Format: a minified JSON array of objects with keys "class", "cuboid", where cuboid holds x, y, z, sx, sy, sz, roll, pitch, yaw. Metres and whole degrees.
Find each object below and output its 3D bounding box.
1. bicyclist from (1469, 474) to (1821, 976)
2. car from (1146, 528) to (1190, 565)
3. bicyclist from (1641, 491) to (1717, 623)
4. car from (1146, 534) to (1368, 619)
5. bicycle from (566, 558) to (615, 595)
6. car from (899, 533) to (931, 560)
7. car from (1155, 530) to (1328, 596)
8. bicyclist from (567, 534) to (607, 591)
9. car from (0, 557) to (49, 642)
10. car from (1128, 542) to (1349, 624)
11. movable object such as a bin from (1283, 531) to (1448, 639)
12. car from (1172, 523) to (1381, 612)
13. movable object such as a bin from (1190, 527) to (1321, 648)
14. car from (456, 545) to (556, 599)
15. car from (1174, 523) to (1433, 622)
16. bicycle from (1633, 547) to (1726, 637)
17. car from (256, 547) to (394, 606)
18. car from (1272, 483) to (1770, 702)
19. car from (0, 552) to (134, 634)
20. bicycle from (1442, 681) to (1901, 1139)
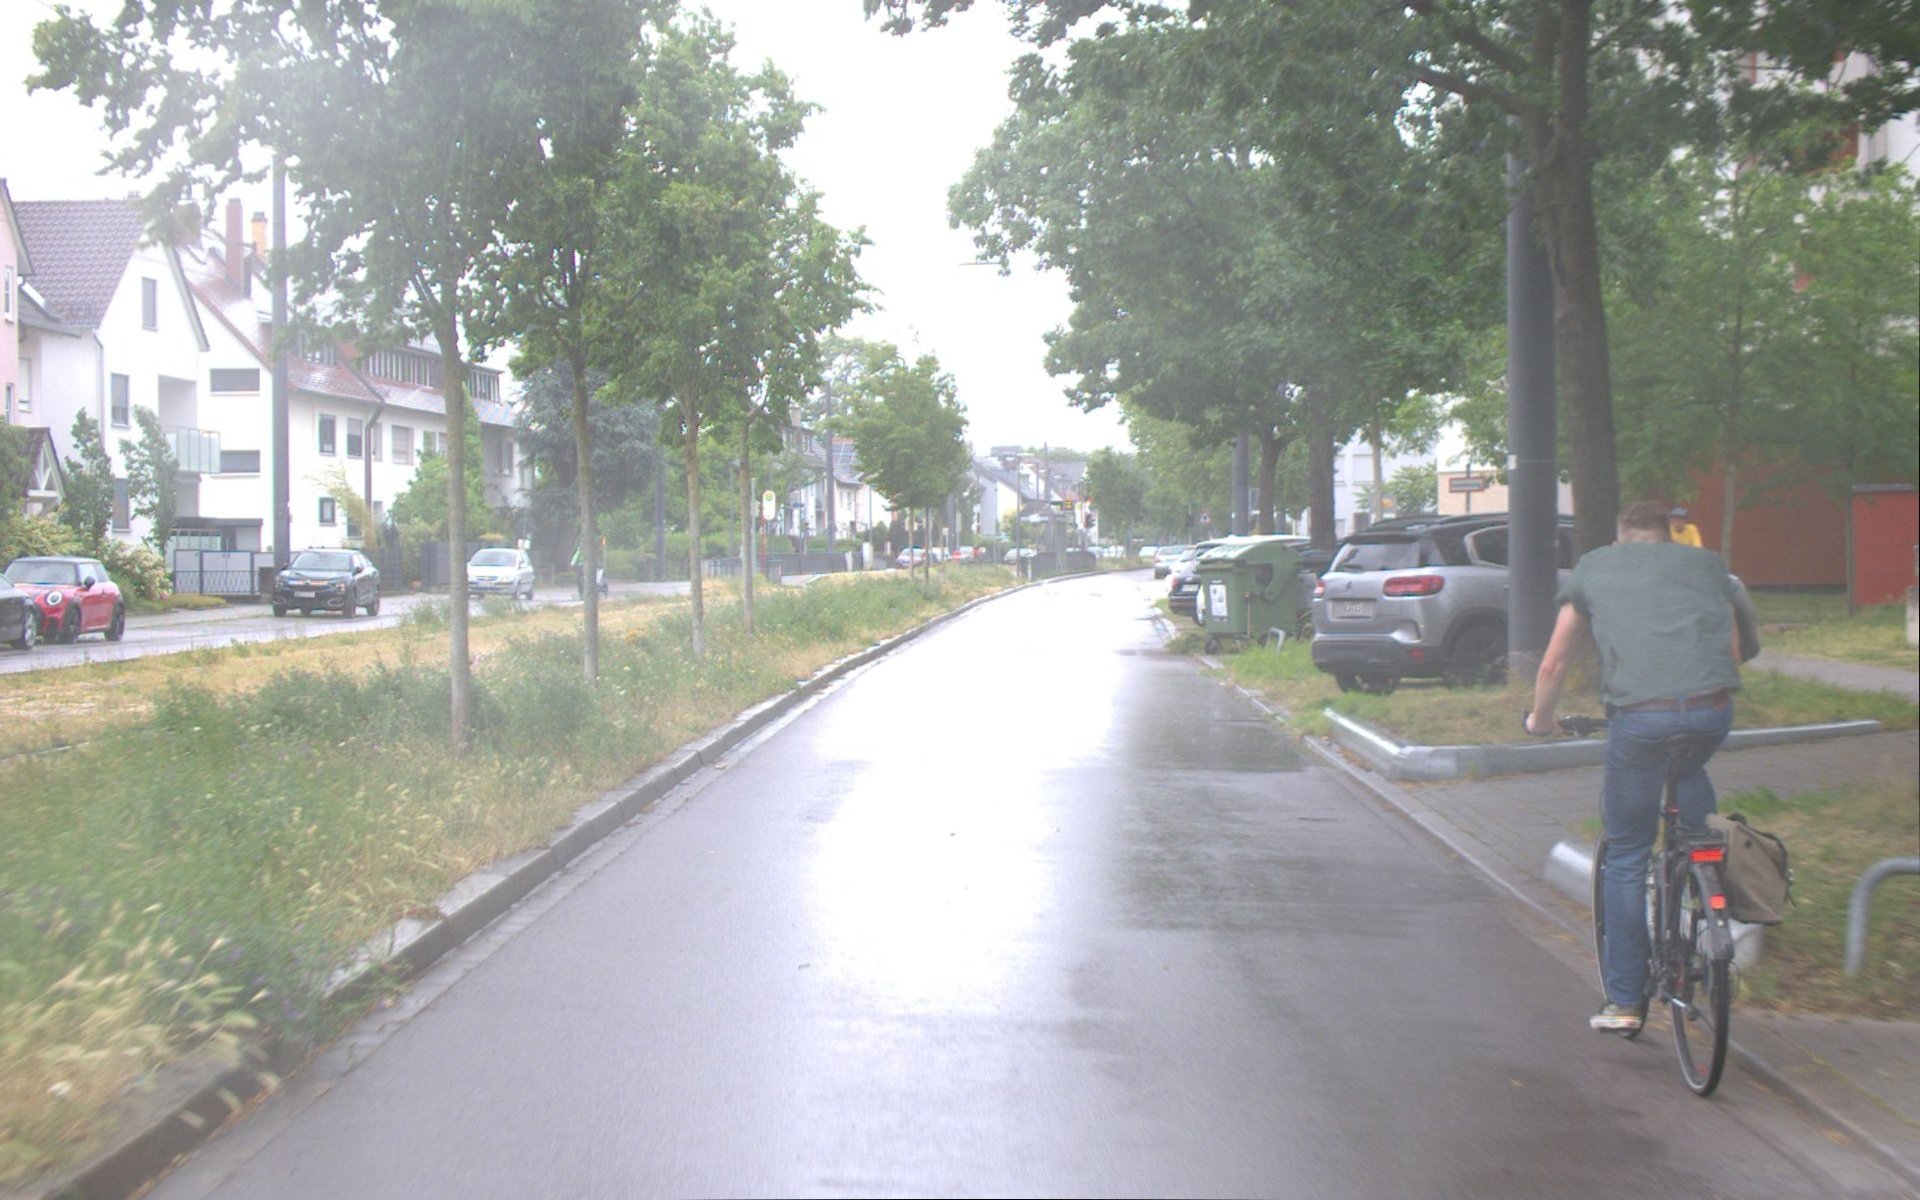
[{"class":"bicyclist","cuboid":[2.049,0.350,10.414,0.809,1.428,1.060,-1,1,-1]},{"class":"car","cuboid":[9.231,-2.380,152.515,1.833,1.580,4.000,-1,1,2]},{"class":"bicyclist","cuboid":[8.803,-0.528,42.117,0.734,1.588,0.944,-1,1,1]},{"class":"car","cuboid":[5.307,-0.434,61.116,4.030,1.438,1.585,-2,1,-42]},{"class":"bicycle","cuboid":[-11.032,-0.711,102.618,1.018,1.024,3.197,-1,1,2]},{"class":"car","cuboid":[-2.876,-3.434,218.737,1.843,1.666,4.000,-1,1,2]},{"class":"car","cuboid":[6.769,-0.890,82.473,4.028,1.508,1.585,-1,1,-35]},{"class":"bicyclist","cuboid":[-11.057,-1.120,101.875,1.018,1.679,1.092,-1,1,2]},{"class":"car","cuboid":[-15.252,-0.015,52.110,1.663,1.240,4.071,2,1,2]},{"class":"car","cuboid":[5.242,-0.336,64.573,4.028,1.438,1.585,-1,1,-35]},{"class":"movable object such as a bin","cuboid":[5.375,-0.211,45.622,1.681,1.321,1.401,-3,2,-19]},{"class":"car","cuboid":[6.274,-0.660,67.945,4.028,1.697,1.585,-1,1,-35]},{"class":"movable object such as a bin","cuboid":[3.889,-0.174,45.360,1.125,1.452,1.401,-7,3,-19]},{"class":"car","cuboid":[-13.185,-0.841,100.117,1.897,1.464,4.687,2,1,5]},{"class":"car","cuboid":[5.561,-0.457,55.468,4.028,1.514,1.585,-1,1,-32]},{"class":"bicycle","cuboid":[8.813,-0.106,42.163,0.734,1.053,2.051,-1,1,1]},{"class":"car","cuboid":[-14.370,-0.555,78.000,1.897,1.240,4.687,2,1,5]},{"class":"car","cuboid":[5.181,-0.113,31.662,4.135,1.713,2.000,-4,3,-30]},{"class":"car","cuboid":[-15.153,-0.139,57.295,1.674,1.240,3.855,2,1,2]},{"class":"bicycle","cuboid":[2.064,0.851,10.377,0.809,1.093,2.517,-1,1,-1]}]
